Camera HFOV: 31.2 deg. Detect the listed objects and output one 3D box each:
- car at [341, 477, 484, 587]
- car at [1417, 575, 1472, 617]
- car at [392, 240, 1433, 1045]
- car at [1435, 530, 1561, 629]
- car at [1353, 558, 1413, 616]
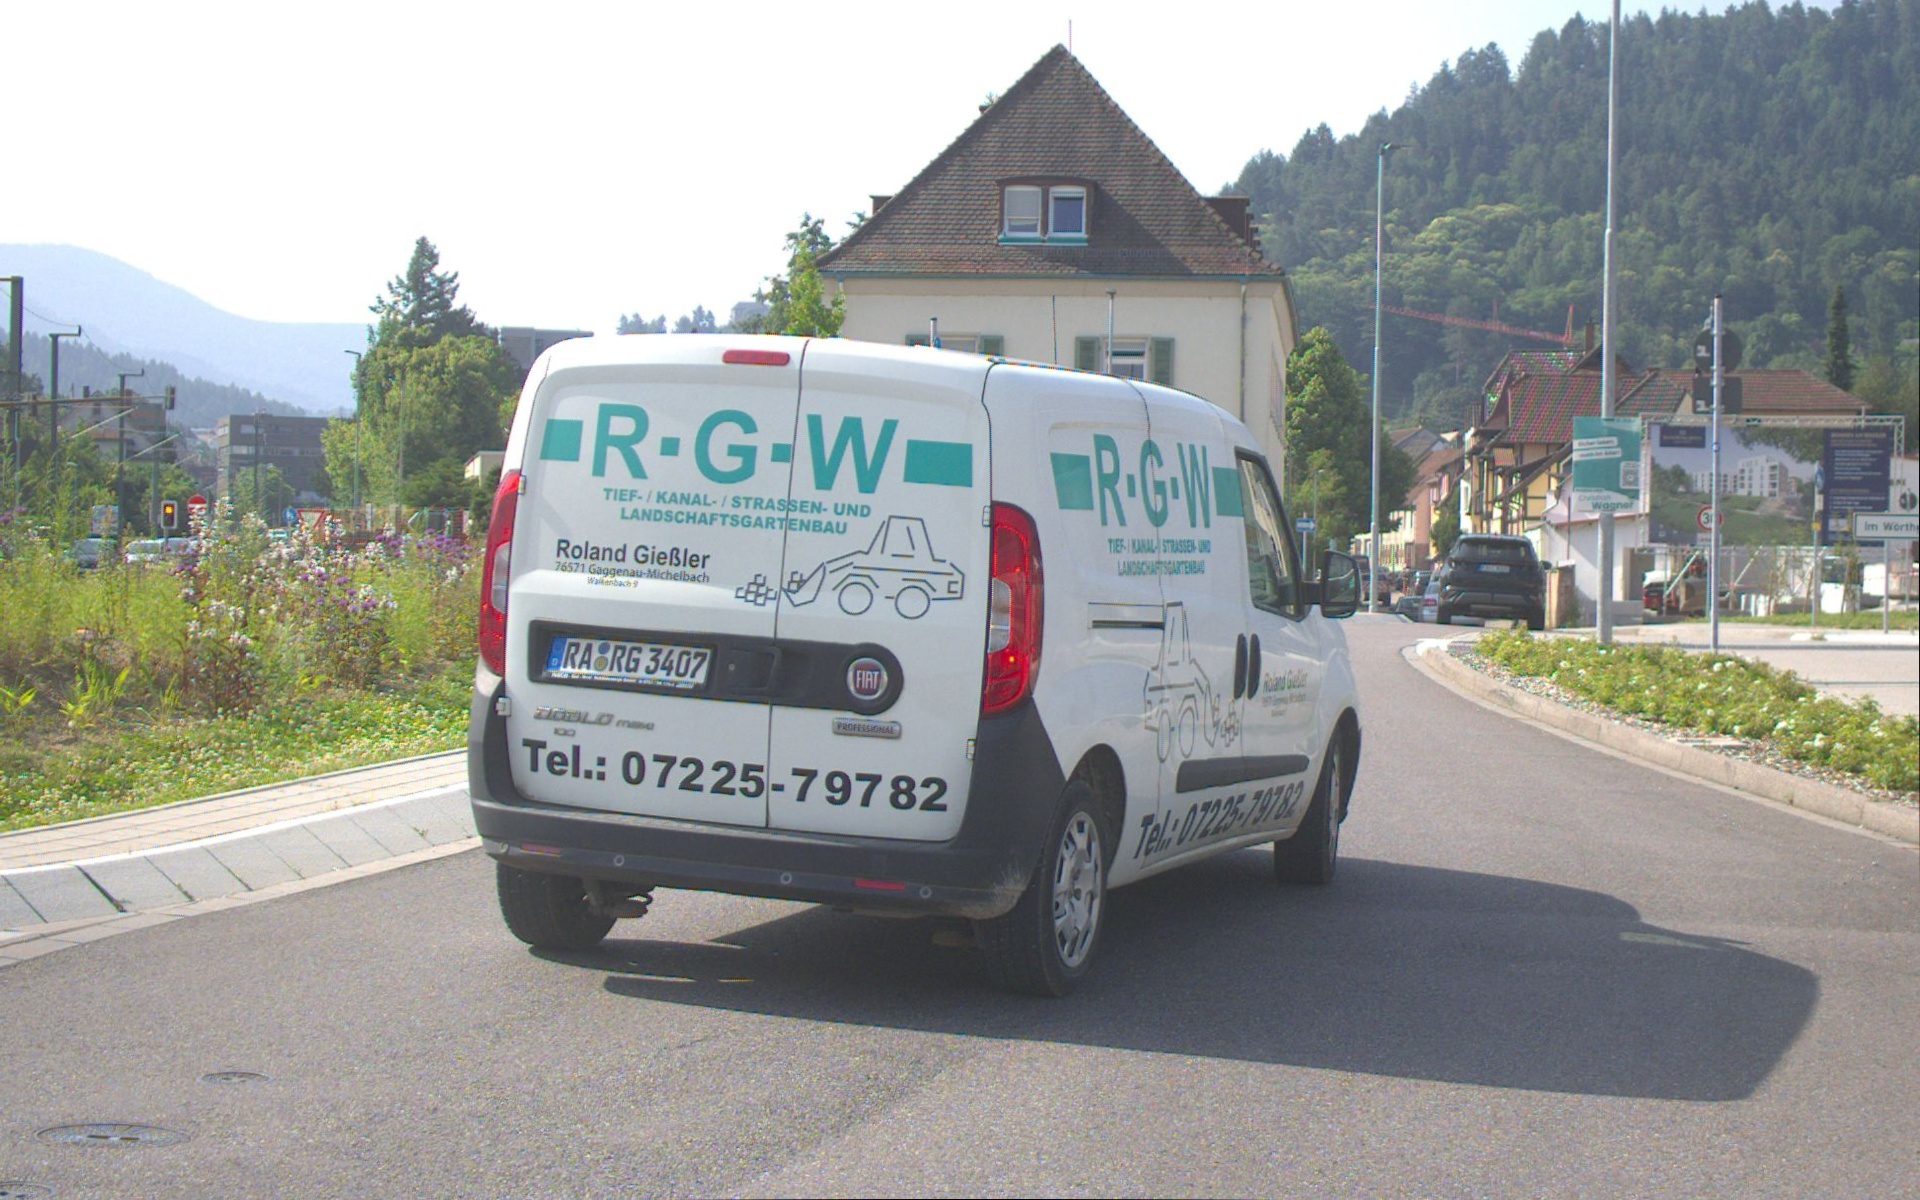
[{"bbox_3d":[-10.323,-1.302,65.109,1.810,2.006,4.000,0,2,4],"label":"car"},{"bbox_3d":[11.909,-0.094,84.579,1.306,1.000,3.090,1,0,8],"label":"car"},{"bbox_3d":[0.111,0.039,11.461,1.808,2.070,4.599,4,2,21],"label":"car"},{"bbox_3d":[9.524,-0.368,60.655,1.882,1.678,3.998,1,0,13],"label":"car"},{"bbox_3d":[15.050,-0.469,122.116,1.994,2.007,3.999,1,0,8],"label":"car"}]
